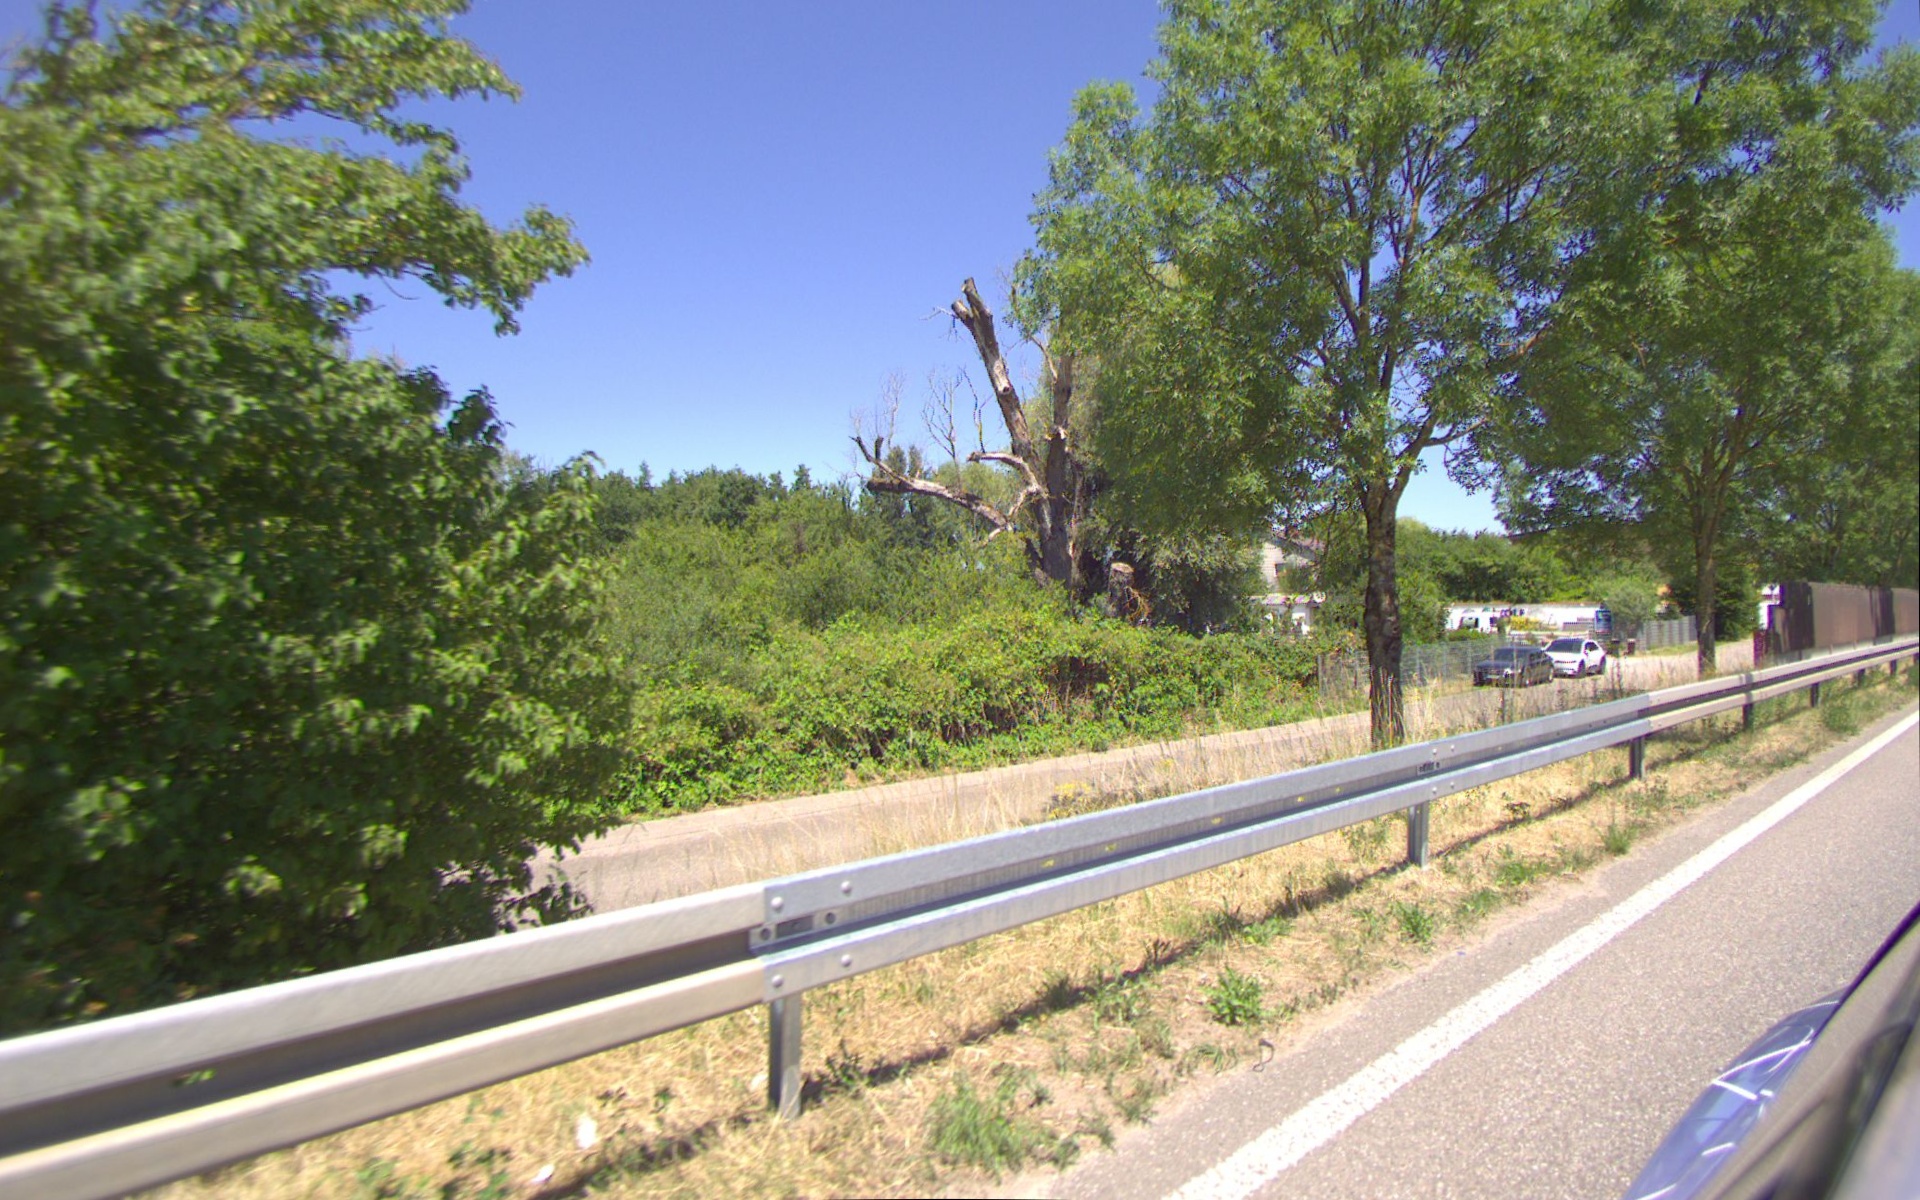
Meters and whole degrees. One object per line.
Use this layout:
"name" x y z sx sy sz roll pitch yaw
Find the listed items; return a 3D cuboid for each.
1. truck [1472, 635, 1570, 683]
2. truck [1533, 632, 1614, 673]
"truck" 22.497 2.317 40.500 4.817 1.591 1.886 0 1 -41
"truck" 26.933 2.256 44.400 3.930 1.563 1.894 0 1 -41
